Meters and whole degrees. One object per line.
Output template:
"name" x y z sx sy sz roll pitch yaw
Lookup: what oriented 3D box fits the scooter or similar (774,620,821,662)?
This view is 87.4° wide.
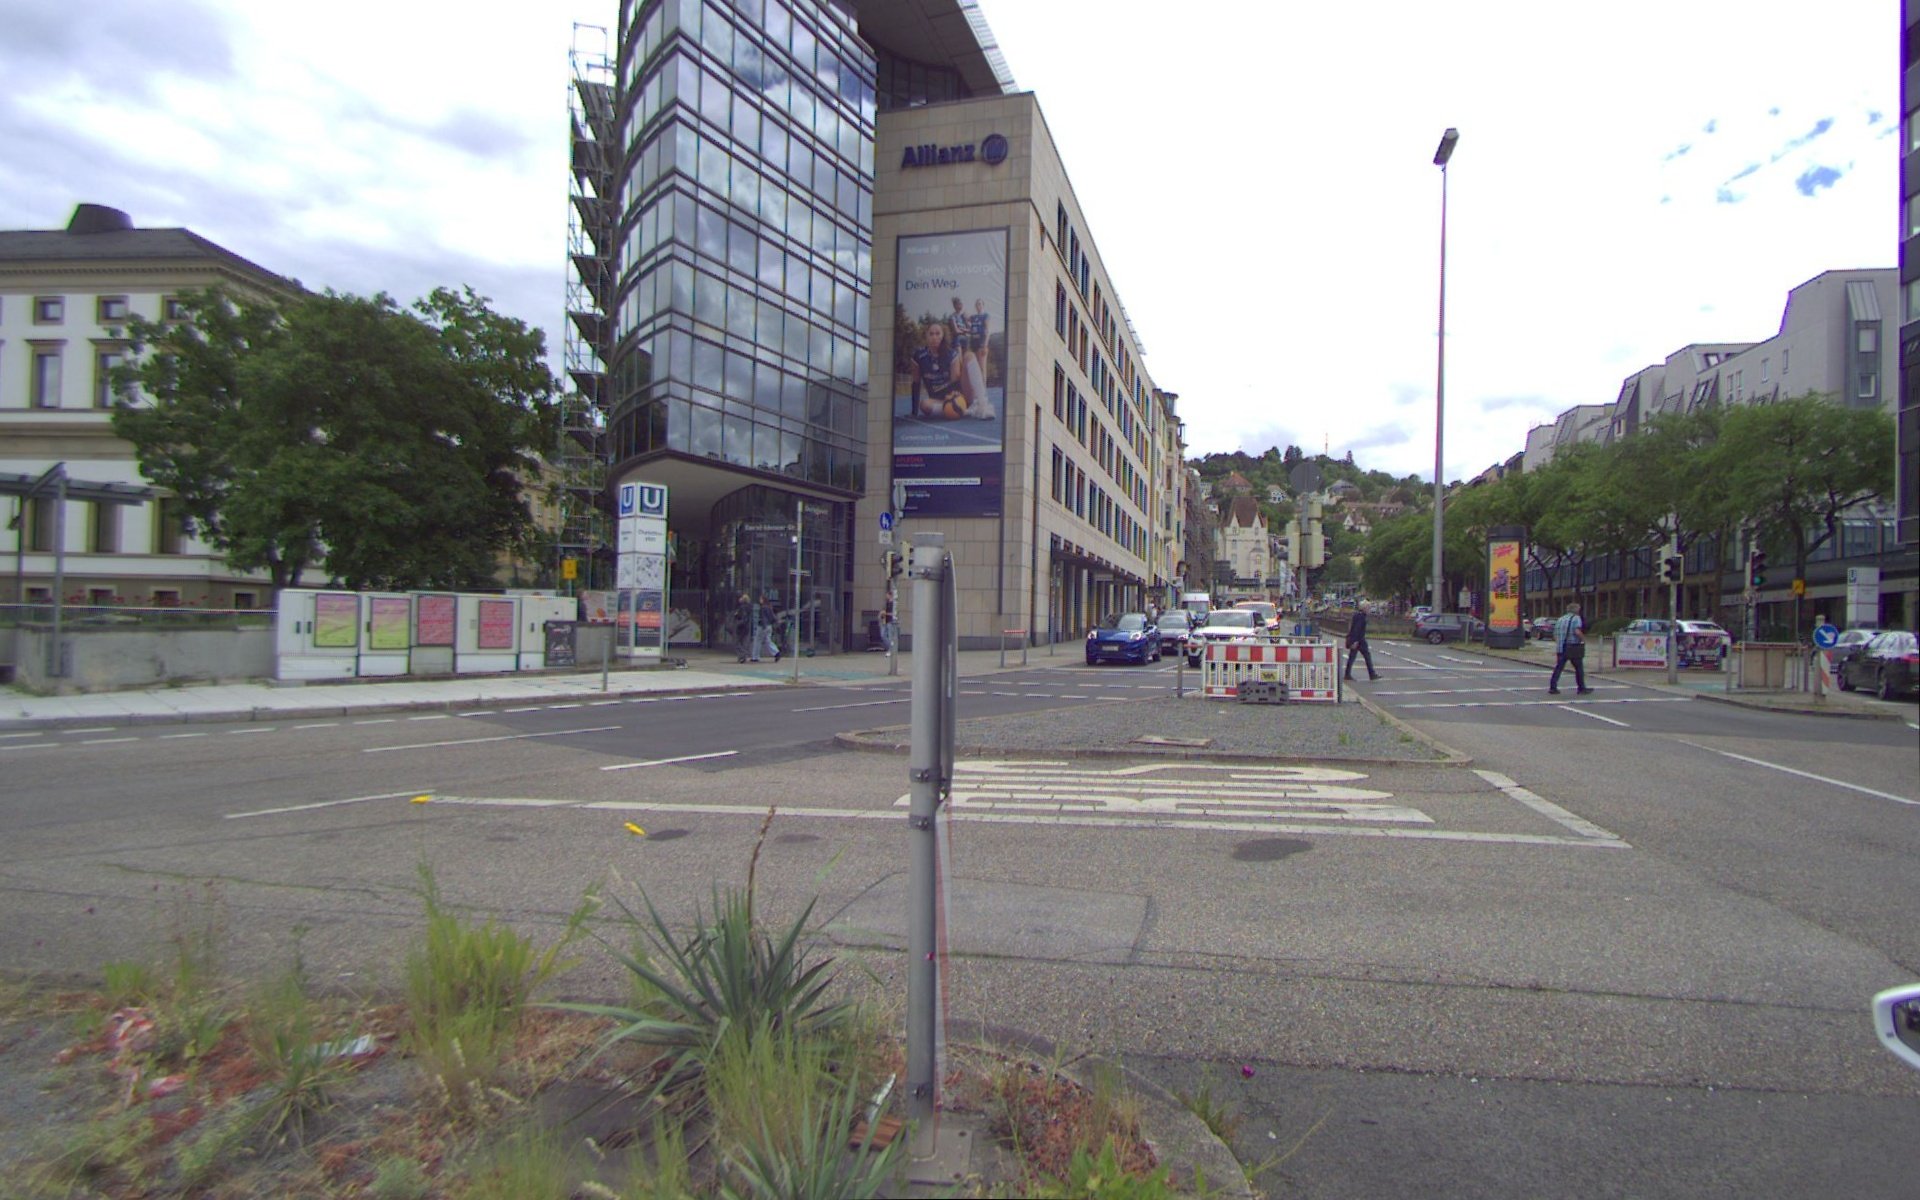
"scooter or similar" -4.897 1.235 30.260 1.362 1.224 0.532 1 0 -15

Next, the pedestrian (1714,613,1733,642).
"pedestrian" 47.440 1.714 62.442 0.585 1.777 0.941 1 0 11

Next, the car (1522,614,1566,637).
"car" 36.841 1.588 63.444 1.802 1.381 3.766 0 -1 21

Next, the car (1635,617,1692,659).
"car" 28.165 1.479 40.169 1.808 1.537 3.753 0 -1 36

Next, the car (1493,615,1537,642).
"car" 34.189 1.705 61.968 1.802 1.587 3.767 0 -1 20

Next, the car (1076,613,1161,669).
"car" 4.925 1.189 30.834 1.960 1.545 4.092 1 0 18

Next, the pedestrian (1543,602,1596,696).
"pedestrian" 12.052 0.957 19.873 0.703 1.814 0.634 -2 0 16

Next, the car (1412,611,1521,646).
"car" 23.788 1.330 47.361 4.479 1.478 1.880 1 0 25

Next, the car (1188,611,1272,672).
"car" 7.889 1.142 29.081 1.707 1.620 4.316 1 0 24

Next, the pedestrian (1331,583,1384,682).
"pedestrian" 8.999 0.731 22.774 0.862 2.201 0.763 1 0 -2

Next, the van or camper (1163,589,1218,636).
"van or camper" 14.650 0.745 63.538 2.951 2.762 6.248 1 0 16

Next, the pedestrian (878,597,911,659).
"pedestrian" -1.986 0.835 30.296 0.915 1.834 0.696 1 0 -9

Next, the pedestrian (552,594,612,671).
"pedestrian" -8.396 0.727 22.311 0.645 1.634 0.962 1 -2 39

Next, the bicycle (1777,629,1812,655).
"bicycle" 38.320 1.905 46.147 0.481 1.147 1.844 1 0 15

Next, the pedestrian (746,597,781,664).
"pedestrian" -5.136 0.796 26.313 0.631 1.723 0.632 1 0 21

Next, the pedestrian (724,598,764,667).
"pedestrian" -5.499 0.823 25.631 0.754 1.723 0.632 1 0 21

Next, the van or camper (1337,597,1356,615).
"van or camper" 69.115 1.050 179.764 2.583 3.221 5.805 1 0 16

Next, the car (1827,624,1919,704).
"car" 19.933 1.305 20.981 1.806 1.414 4.141 2 2 28

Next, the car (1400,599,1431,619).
"car" 44.402 0.881 97.988 1.801 1.899 4.873 0 -1 13

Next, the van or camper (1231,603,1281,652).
"van or camper" 12.418 1.112 42.212 1.881 1.947 5.085 0 -1 16

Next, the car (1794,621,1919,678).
"car" 28.105 1.495 31.472 1.804 1.451 4.145 2 1 22

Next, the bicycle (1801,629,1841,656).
"bicycle" 39.213 1.928 45.789 0.481 1.147 1.888 1 0 11

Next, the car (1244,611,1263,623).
"car" 37.973 2.188 130.012 1.885 1.547 4.544 1 0 12

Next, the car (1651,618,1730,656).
"car" 31.775 1.590 43.788 1.802 1.537 3.767 0 -1 20
